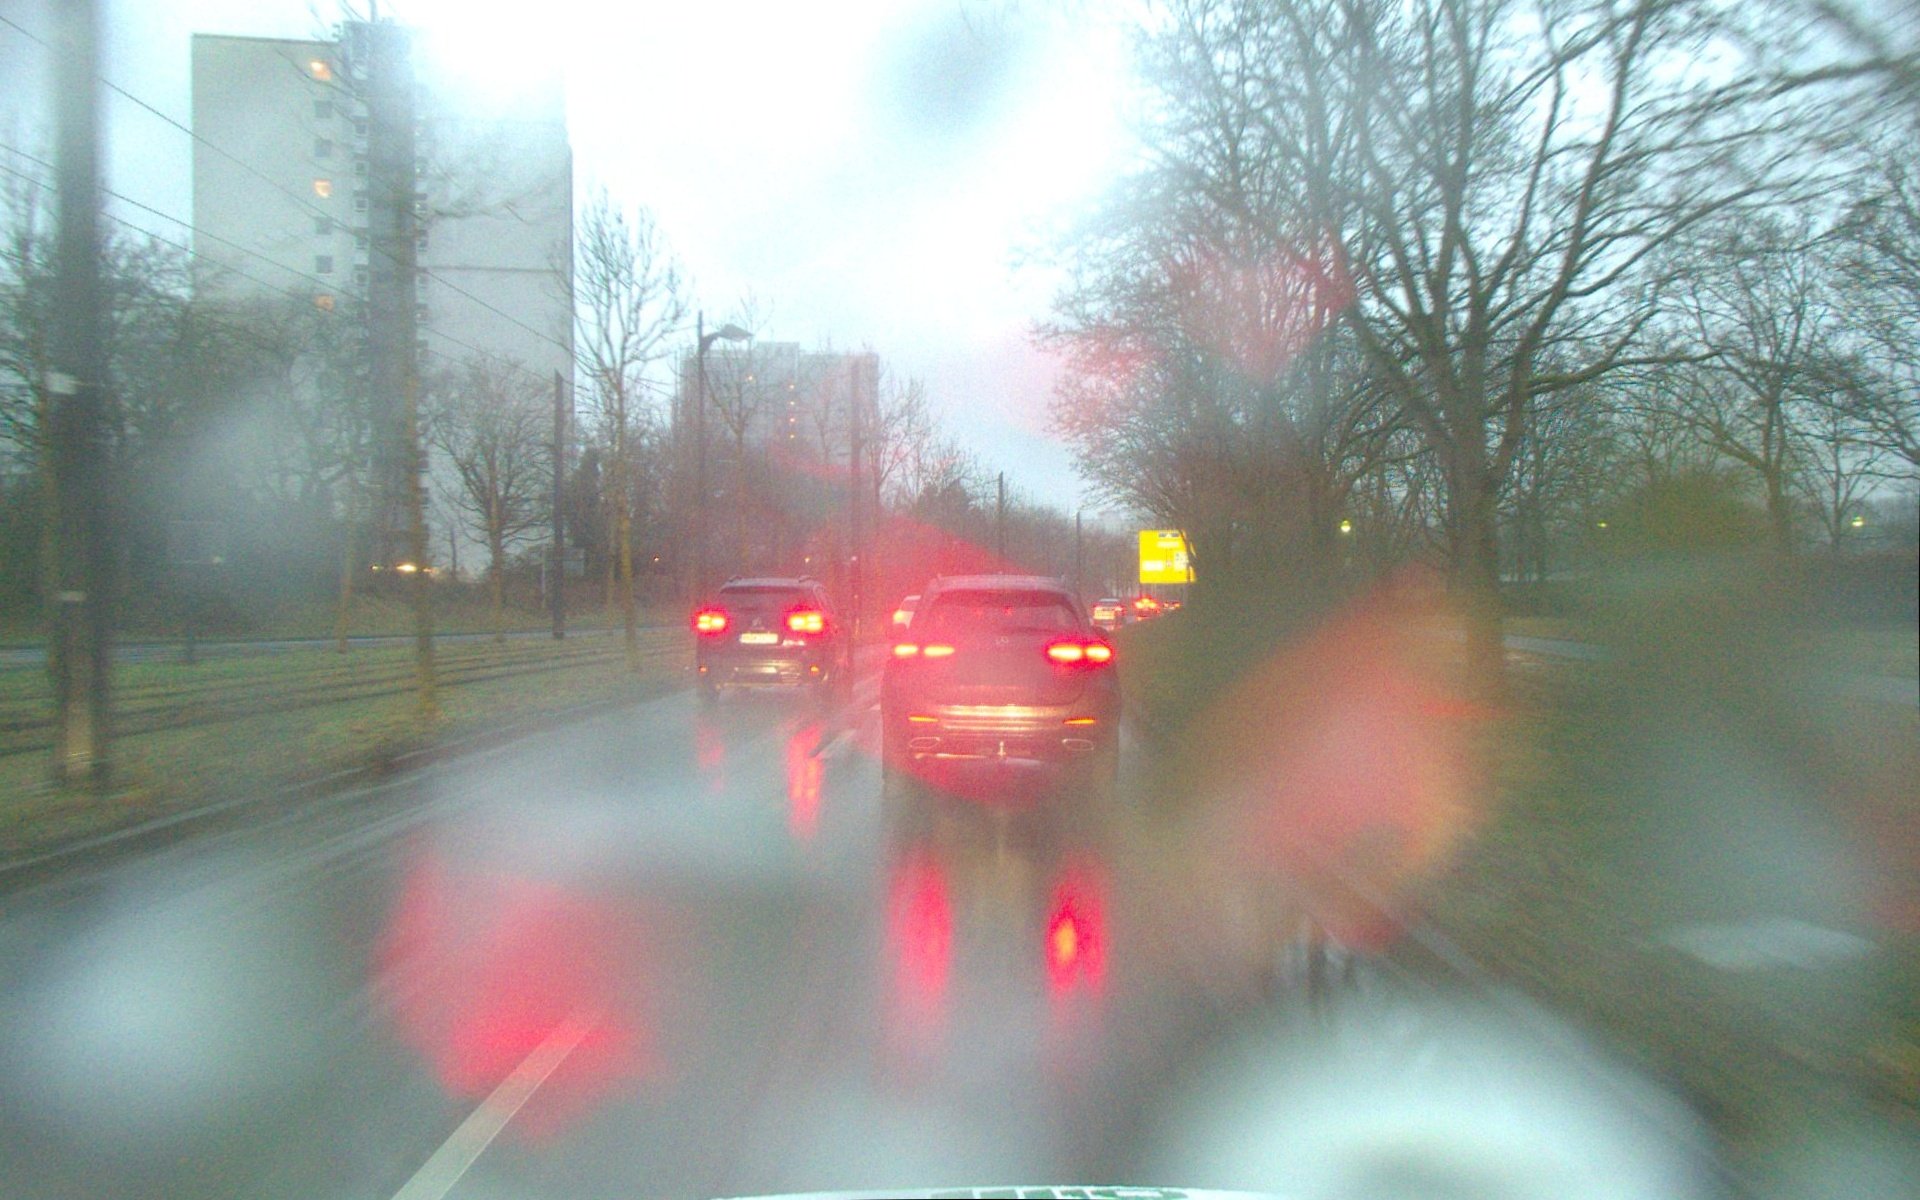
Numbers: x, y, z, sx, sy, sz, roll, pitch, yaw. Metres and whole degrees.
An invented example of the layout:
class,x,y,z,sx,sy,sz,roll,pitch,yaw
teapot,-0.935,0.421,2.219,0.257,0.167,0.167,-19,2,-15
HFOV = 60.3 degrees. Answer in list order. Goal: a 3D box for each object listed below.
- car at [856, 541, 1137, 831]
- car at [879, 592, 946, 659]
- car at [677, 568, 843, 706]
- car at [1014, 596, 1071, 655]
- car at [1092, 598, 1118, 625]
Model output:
class,x,y,z,sx,sy,sz,roll,pitch,yaw
car,0.250,0.647,13.644,1.953,2.010,4.067,1,-1,0
car,-1.375,0.680,46.439,1.791,1.769,3.803,1,0,-3
car,-2.720,0.526,23.416,1.953,1.742,4.322,1,-1,-2
car,2.801,0.904,56.712,1.818,1.925,4.000,1,-1,1
car,8.798,0.693,100.365,1.502,1.540,3.344,1,-1,6
